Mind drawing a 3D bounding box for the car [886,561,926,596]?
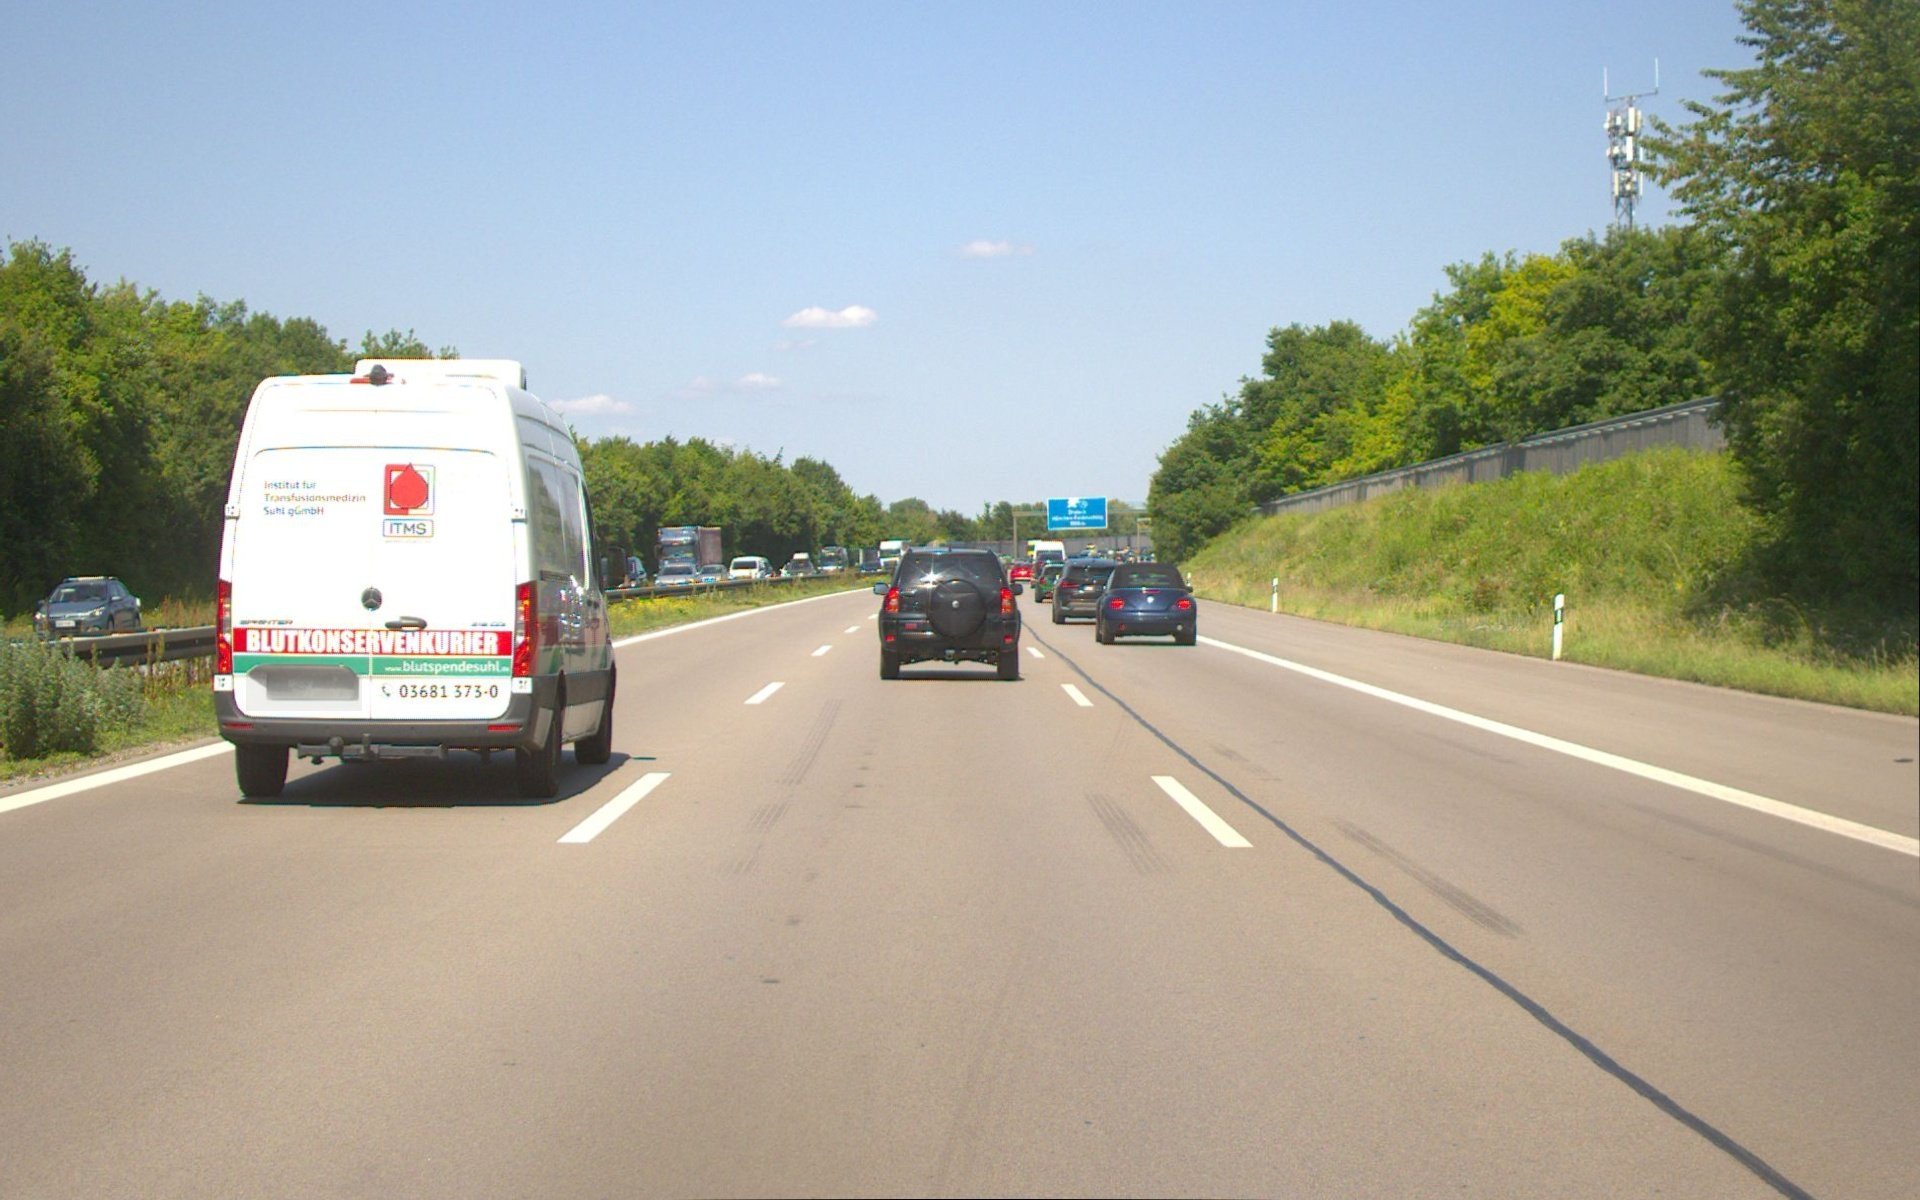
[{"bbox_3d":[-3.246,-1.300,207.253,1.994,2.007,4.949,-1,1,3],"label":"car"}]

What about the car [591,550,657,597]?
[{"bbox_3d":[-12.271,-0.988,125.870,1.993,1.660,4.474,-1,1,-1],"label":"car"}]

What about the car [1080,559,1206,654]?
[{"bbox_3d":[3.358,0.121,63.676,1.993,1.678,4.000,-1,0,-2],"label":"car"}]

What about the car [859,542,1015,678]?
[{"bbox_3d":[-0.321,0.131,44.270,1.906,1.659,4.000,-1,0,-1],"label":"car"}]

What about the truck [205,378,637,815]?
[{"bbox_3d":[-3.481,-0.071,23.545,1.993,2.533,6.692,1,1,-1],"label":"truck"}]

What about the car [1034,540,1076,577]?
[{"bbox_3d":[5.308,-2.330,192.124,1.993,2.007,4.768,-1,1,-3],"label":"car"}]

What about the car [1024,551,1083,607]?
[{"bbox_3d":[3.423,-0.756,126.039,1.993,2.007,4.000,-1,0,0],"label":"car"}]

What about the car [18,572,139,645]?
[{"bbox_3d":[-20.385,0.194,79.643,1.710,1.622,4.000,-1,0,1],"label":"car"}]

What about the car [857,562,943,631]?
[{"bbox_3d":[-1.546,-0.113,89.901,1.993,1.700,4.336,-1,1,2],"label":"car"}]

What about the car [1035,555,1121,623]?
[{"bbox_3d":[2.863,-0.259,84.055,1.842,1.606,4.000,-1,0,-2],"label":"car"}]
